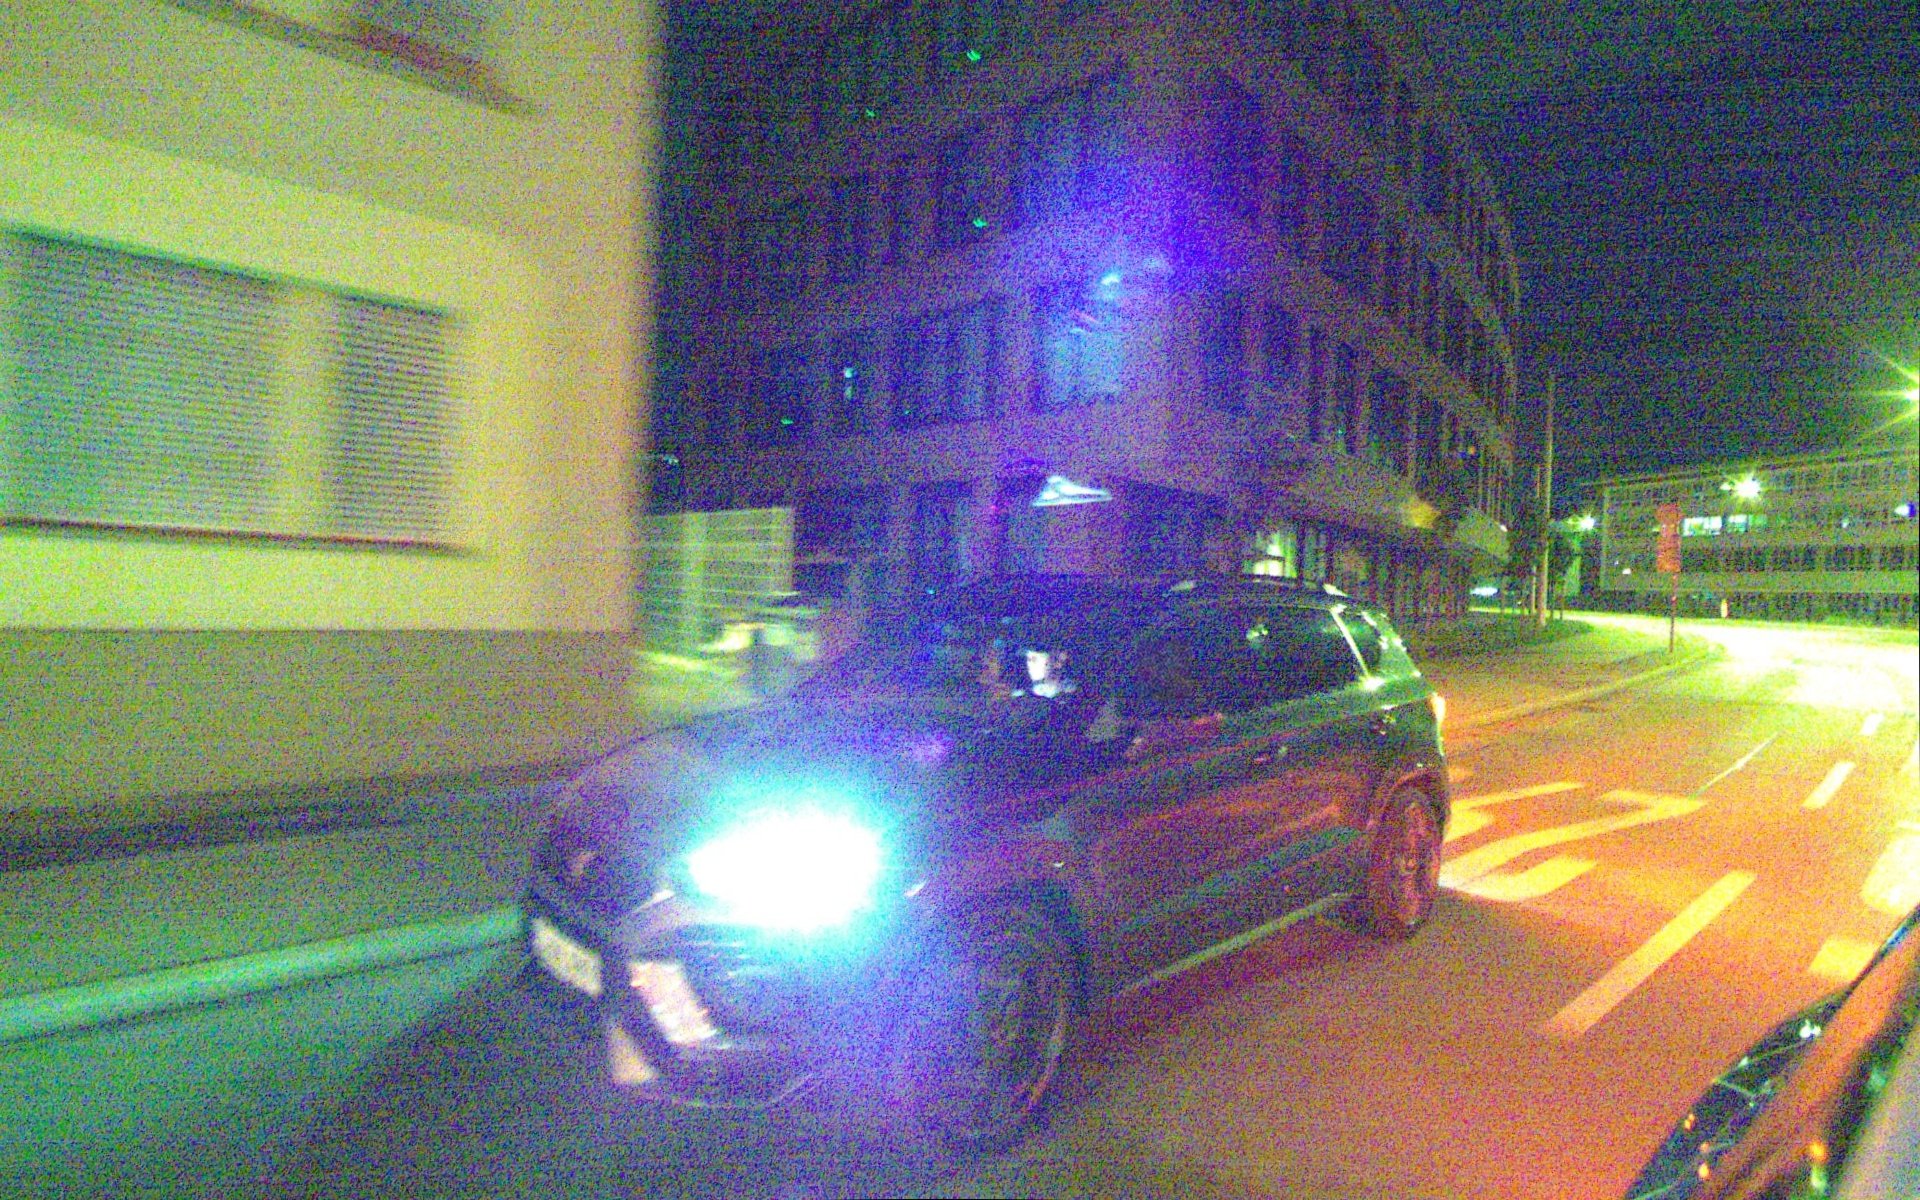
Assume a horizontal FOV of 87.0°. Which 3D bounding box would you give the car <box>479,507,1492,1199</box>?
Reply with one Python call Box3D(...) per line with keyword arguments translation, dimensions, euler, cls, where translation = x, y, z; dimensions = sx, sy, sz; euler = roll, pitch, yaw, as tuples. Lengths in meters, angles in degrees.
Box3D(translation=(0.495, 0.590, 4.128), dimensions=(4.158, 1.630, 1.672), euler=(-1, 1, -43), cls="car")
